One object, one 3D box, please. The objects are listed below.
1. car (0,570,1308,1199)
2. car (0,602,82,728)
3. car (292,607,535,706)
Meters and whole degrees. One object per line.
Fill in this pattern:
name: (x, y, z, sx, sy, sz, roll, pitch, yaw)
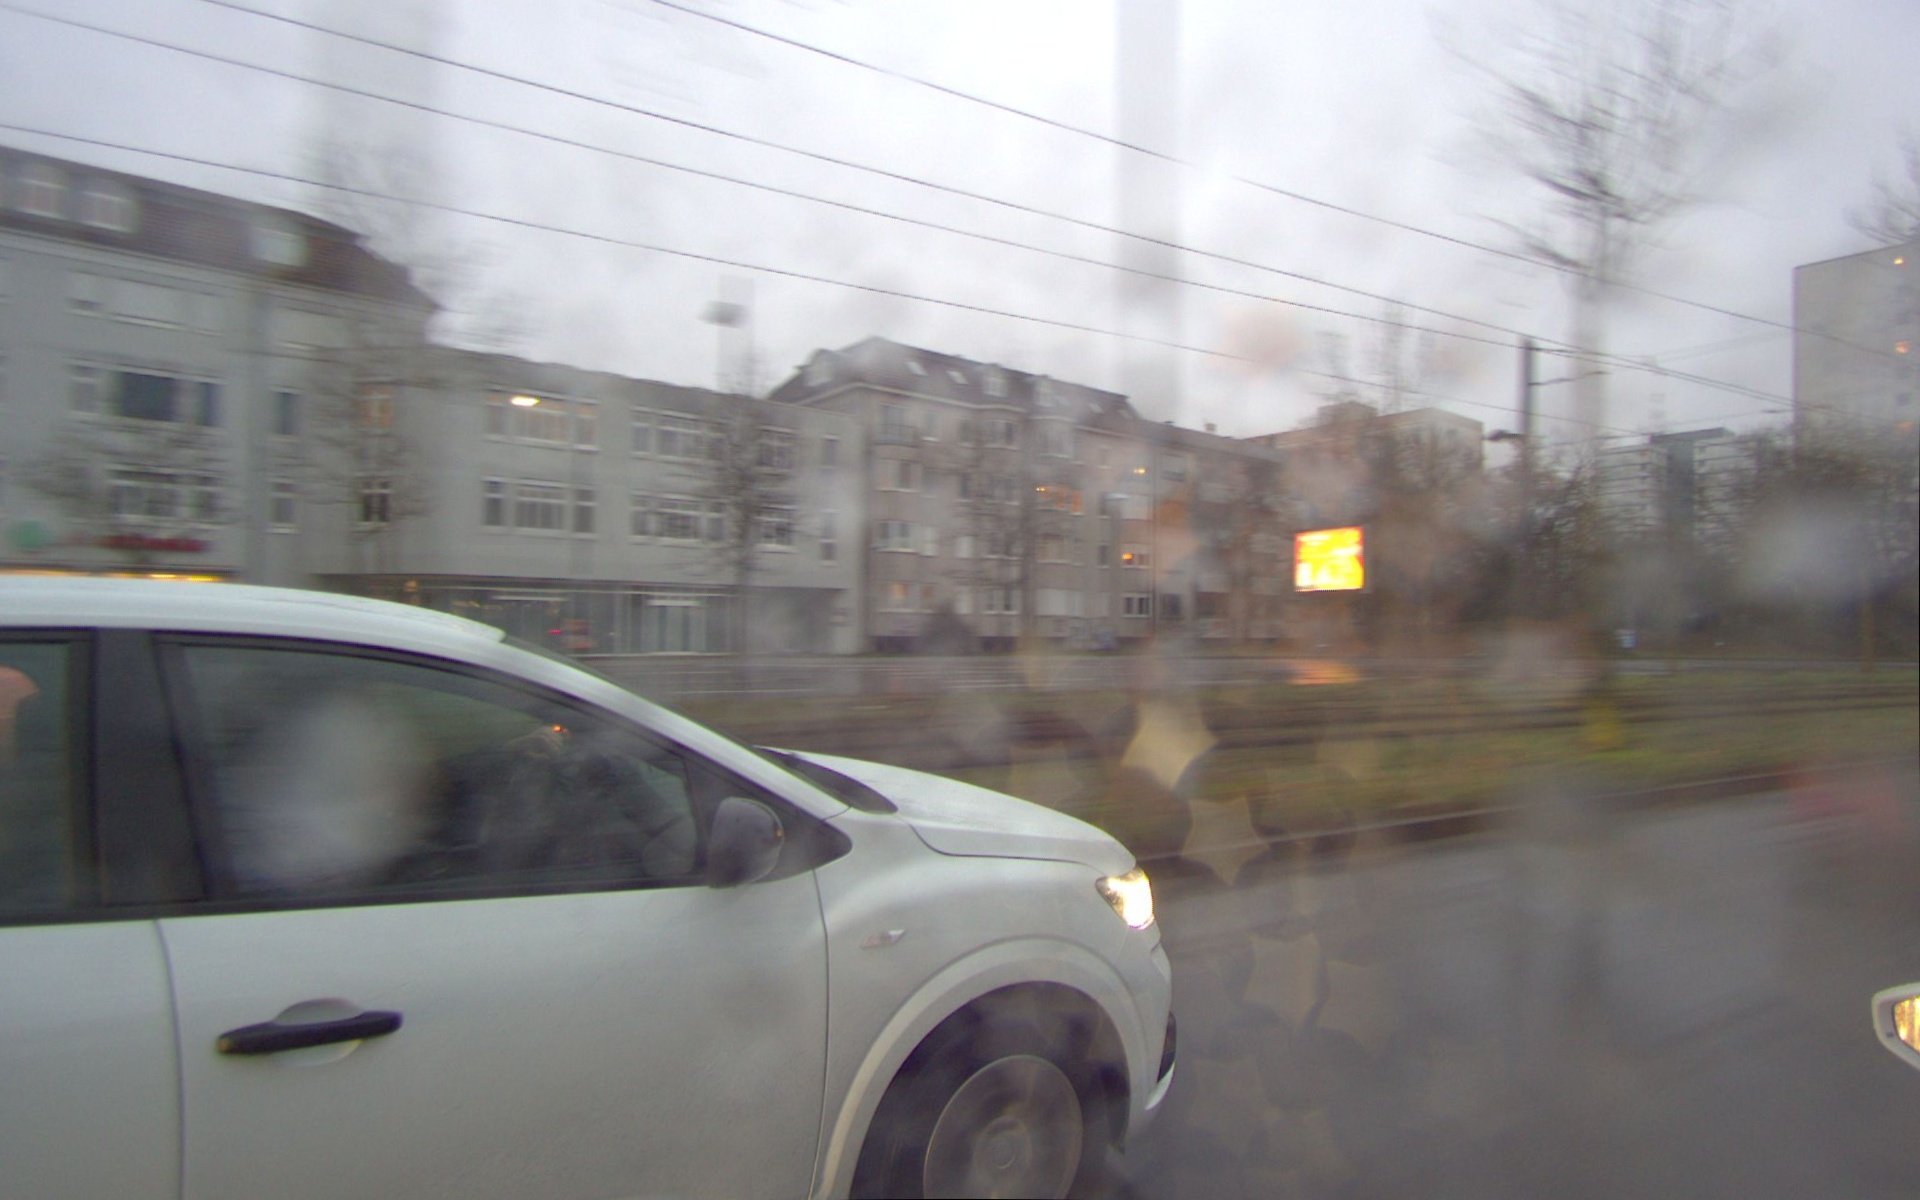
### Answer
car: (-1.258, 0.722, 2.256, 3.955, 1.485, 1.699, 3, -1, -31)
car: (-13.883, 0.742, 12.082, 4.895, 1.549, 1.574, 3, -1, -40)
car: (-10.493, 1.041, 19.506, 3.952, 1.750, 1.799, 1, -2, -29)
